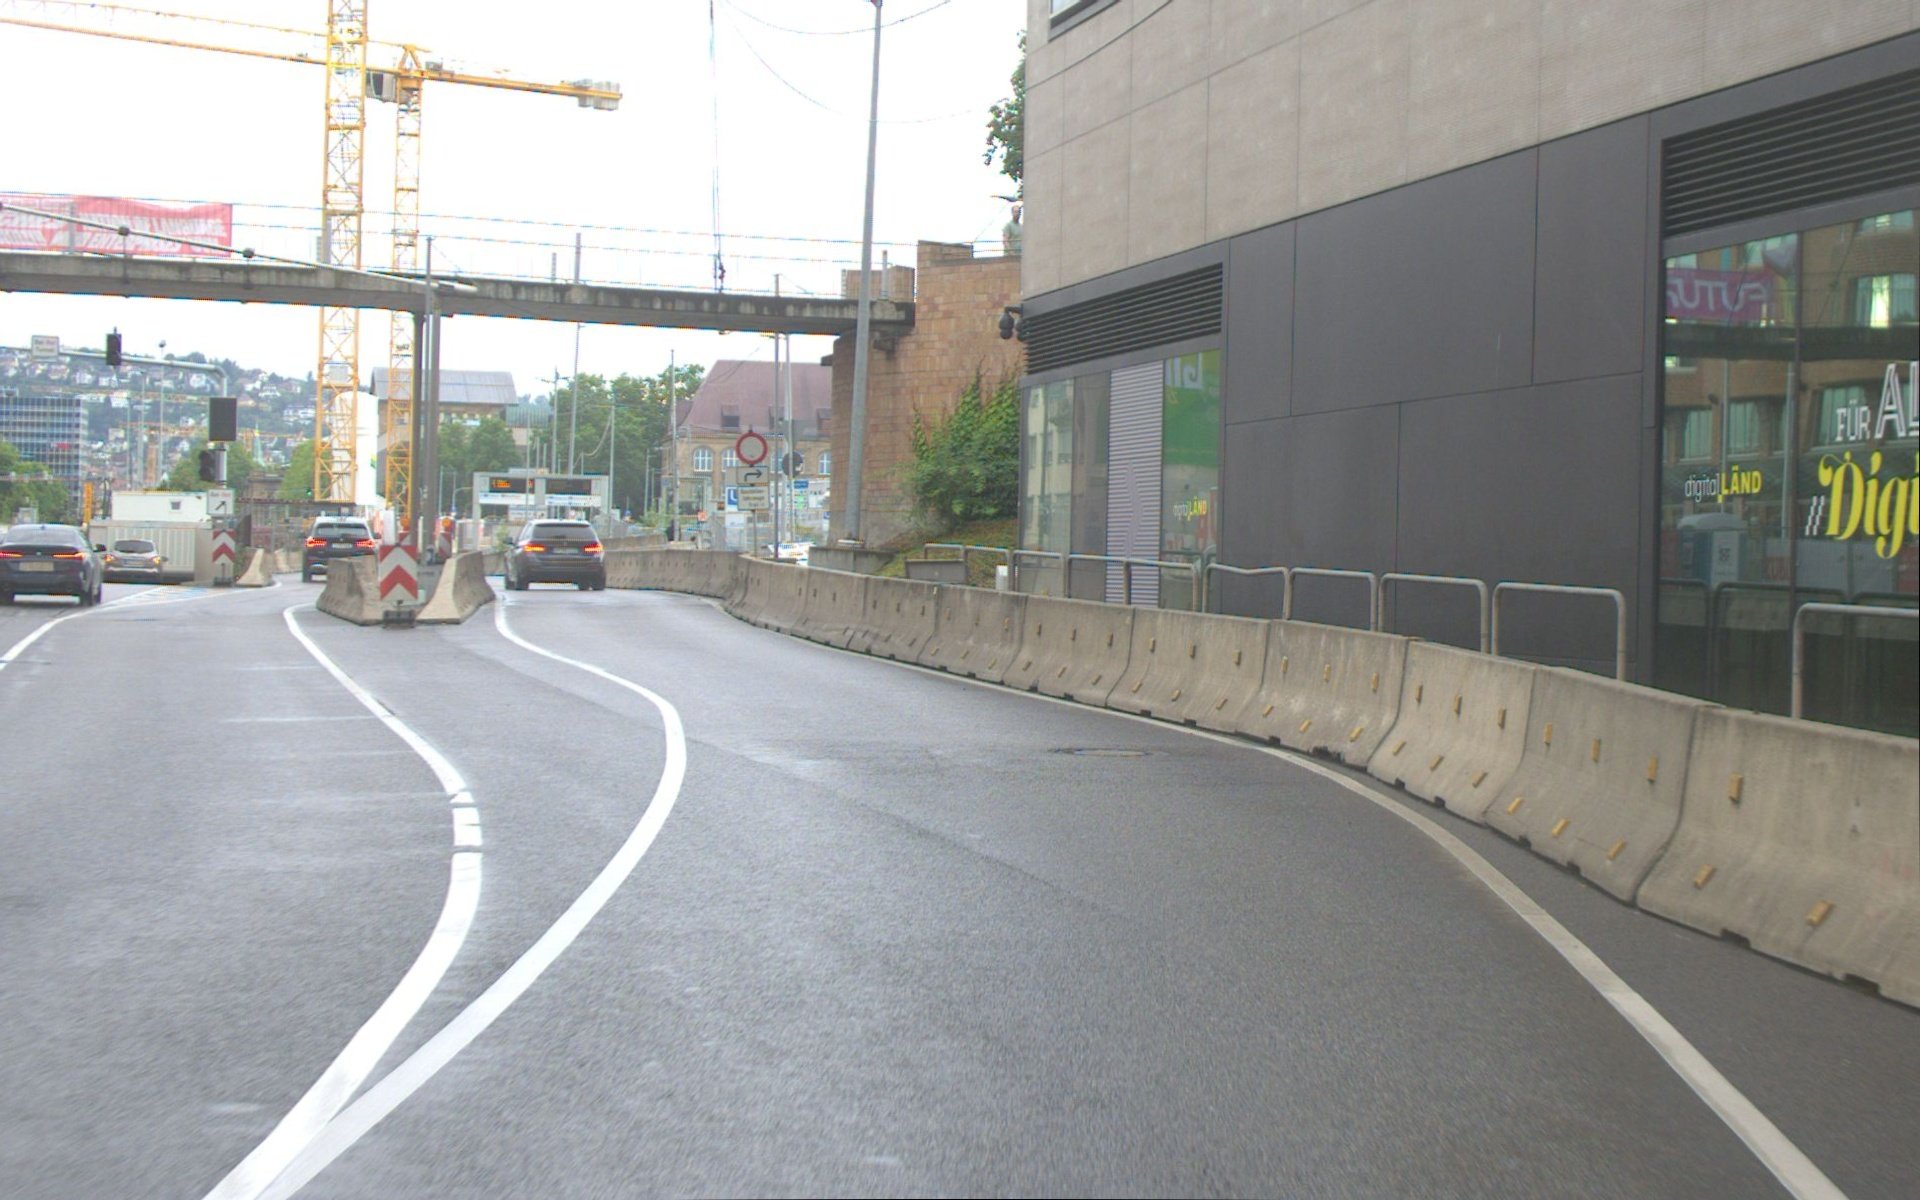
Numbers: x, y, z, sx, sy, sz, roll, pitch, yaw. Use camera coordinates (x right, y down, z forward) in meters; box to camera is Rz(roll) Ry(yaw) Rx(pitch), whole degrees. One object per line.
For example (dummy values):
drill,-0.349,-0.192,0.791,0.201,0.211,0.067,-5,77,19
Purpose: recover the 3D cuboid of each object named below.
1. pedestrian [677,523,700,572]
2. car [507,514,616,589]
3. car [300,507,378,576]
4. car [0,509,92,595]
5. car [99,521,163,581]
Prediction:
pedestrian,-9.790,-1.892,123.964,0.689,1.772,1.023,0,0,-11
car,-8.184,-1.010,70.356,1.862,1.428,4.658,2,1,-11
car,-15.729,-1.496,87.127,1.862,1.655,4.658,2,1,-10
car,-16.563,-0.896,61.718,1.862,1.438,4.658,1,1,-14
car,-25.949,-1.547,107.644,1.862,1.759,4.658,2,1,-13
